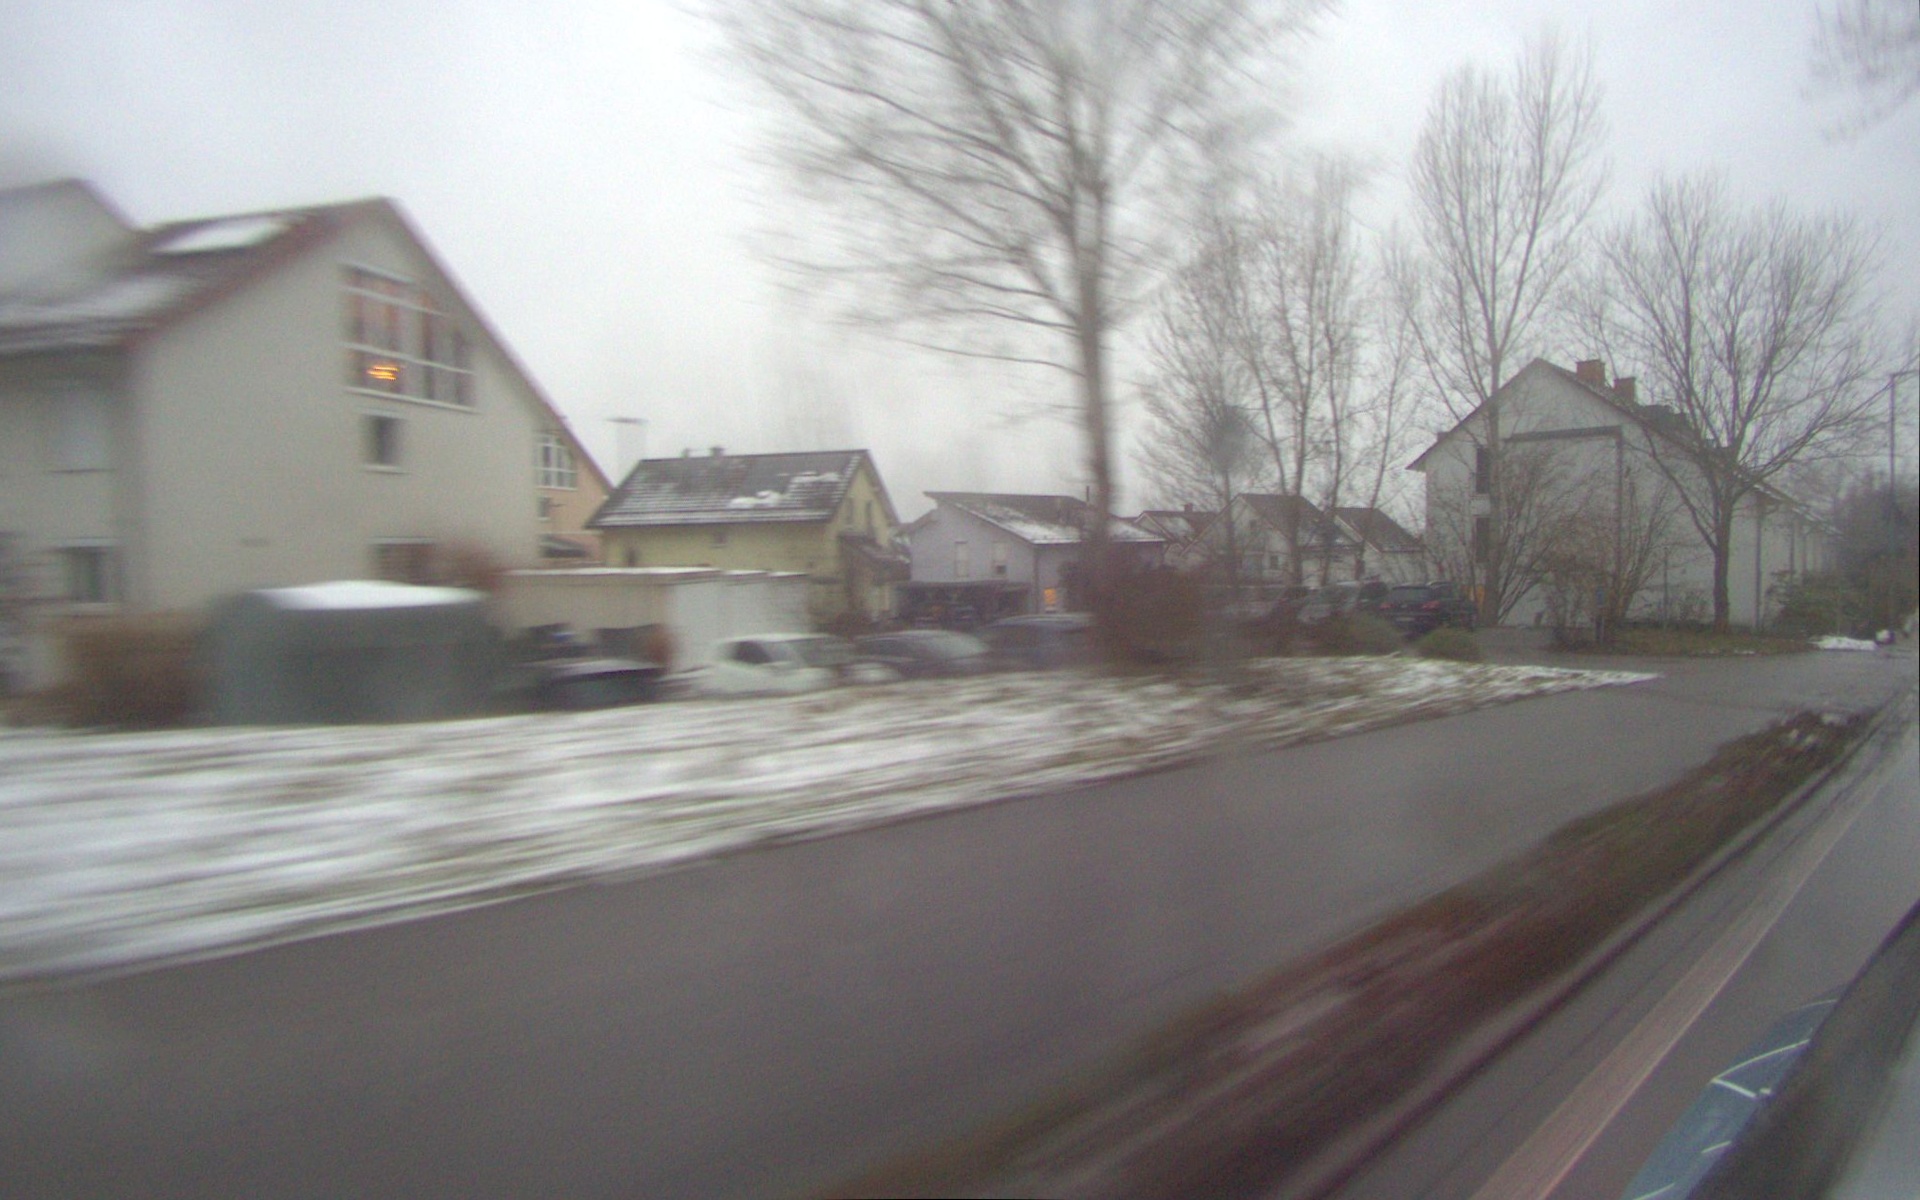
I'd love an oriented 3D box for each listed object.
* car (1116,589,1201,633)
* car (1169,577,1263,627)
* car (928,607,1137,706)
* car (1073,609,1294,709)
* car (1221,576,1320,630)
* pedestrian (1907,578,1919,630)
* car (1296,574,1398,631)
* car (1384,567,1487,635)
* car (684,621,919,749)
[{"bbox_3d":[7.423,0.367,37.659,3.346,1.293,1.470,-6,5,-44],"label":"car"},{"bbox_3d":[9.333,0.035,36.776,3.681,1.490,1.639,-6,5,-44],"label":"car"},{"bbox_3d":[1.323,0.997,19.492,3.782,1.617,1.775,1,1,44],"label":"car"},{"bbox_3d":[4.220,1.028,19.448,3.782,1.617,1.775,1,1,44],"label":"car"},{"bbox_3d":[10.523,0.060,34.155,3.681,1.490,1.639,-6,5,-44],"label":"car"},{"bbox_3d":[31.412,0.142,32.988,0.744,1.676,0.955,1,0,45],"label":"pedestrian"},{"bbox_3d":[12.370,0.017,32.223,3.681,1.490,1.639,-6,5,-44],"label":"car"},{"bbox_3d":[14.349,-0.030,30.459,3.681,1.702,1.639,-6,5,-44],"label":"car"},{"bbox_3d":[-2.589,1.227,16.026,3.782,1.617,1.775,1,1,44],"label":"car"}]
